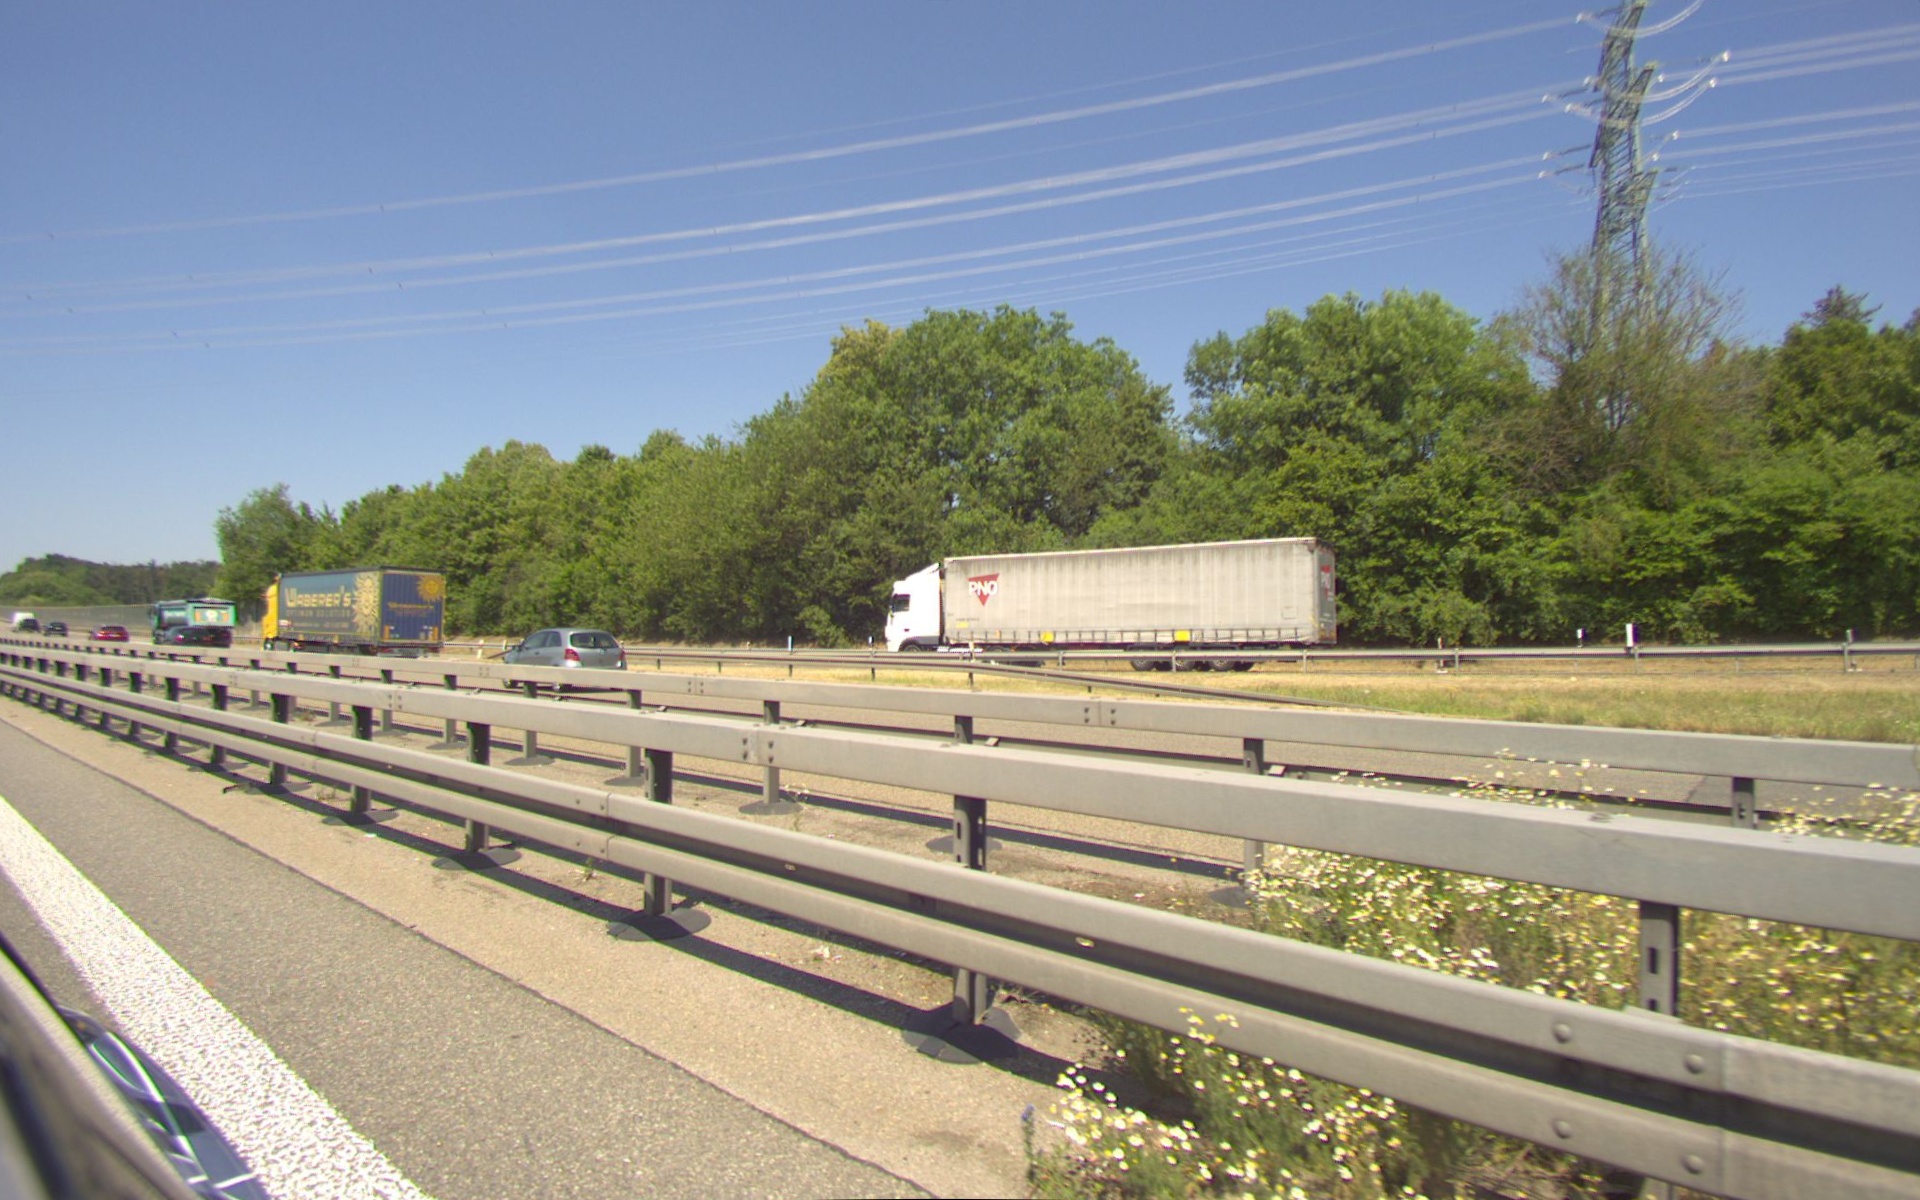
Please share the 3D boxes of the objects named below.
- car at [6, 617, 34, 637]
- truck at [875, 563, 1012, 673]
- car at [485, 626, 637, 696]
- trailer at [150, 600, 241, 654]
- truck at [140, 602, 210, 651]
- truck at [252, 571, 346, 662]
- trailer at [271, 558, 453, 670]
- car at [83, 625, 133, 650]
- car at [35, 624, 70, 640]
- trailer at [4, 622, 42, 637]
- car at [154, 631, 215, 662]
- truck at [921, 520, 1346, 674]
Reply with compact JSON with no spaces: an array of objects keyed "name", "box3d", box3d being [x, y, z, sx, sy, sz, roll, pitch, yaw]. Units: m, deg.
[{"name":"car","box3d":[-128.387,3.645,138.174,6.001,2.660,2.087,-1,-3,41]},{"name":"truck","box3d":[-0.642,0.758,39.254,4.311,3.926,2.920,-4,-3,33]},{"name":"car","box3d":[-9.687,1.436,24.445,3.881,1.542,1.763,-1,-4,41]},{"name":"trailer","box3d":[-50.779,1.768,67.107,9.705,3.326,2.883,-1,-2,41]},{"name":"truck","box3d":[-54.934,1.847,70.794,5.328,3.326,2.883,-1,-2,41]},{"name":"truck","box3d":[-33.339,0.837,51.039,3.513,4.374,3.140,-2,-2,42]},{"name":"trailer","box3d":[-26.984,0.689,45.119,13.811,4.374,3.140,-1,-2,43]},{"name":"car","box3d":[-56.184,2.466,66.698,4.382,1.542,1.763,-1,-4,41]},{"name":"car","box3d":[-100.643,3.540,112.240,4.509,1.813,2.136,-1,-3,39]},{"name":"trailer","box3d":[-123.769,3.912,133.663,6.717,1.960,2.737,-1,-3,39]},{"name":"car","box3d":[-38.920,2.303,50.763,4.146,1.480,1.694,-1,-4,43]},{"name":"truck","box3d":[5.459,0.211,35.300,14.501,4.374,2.972,-4,-3,33]}]
